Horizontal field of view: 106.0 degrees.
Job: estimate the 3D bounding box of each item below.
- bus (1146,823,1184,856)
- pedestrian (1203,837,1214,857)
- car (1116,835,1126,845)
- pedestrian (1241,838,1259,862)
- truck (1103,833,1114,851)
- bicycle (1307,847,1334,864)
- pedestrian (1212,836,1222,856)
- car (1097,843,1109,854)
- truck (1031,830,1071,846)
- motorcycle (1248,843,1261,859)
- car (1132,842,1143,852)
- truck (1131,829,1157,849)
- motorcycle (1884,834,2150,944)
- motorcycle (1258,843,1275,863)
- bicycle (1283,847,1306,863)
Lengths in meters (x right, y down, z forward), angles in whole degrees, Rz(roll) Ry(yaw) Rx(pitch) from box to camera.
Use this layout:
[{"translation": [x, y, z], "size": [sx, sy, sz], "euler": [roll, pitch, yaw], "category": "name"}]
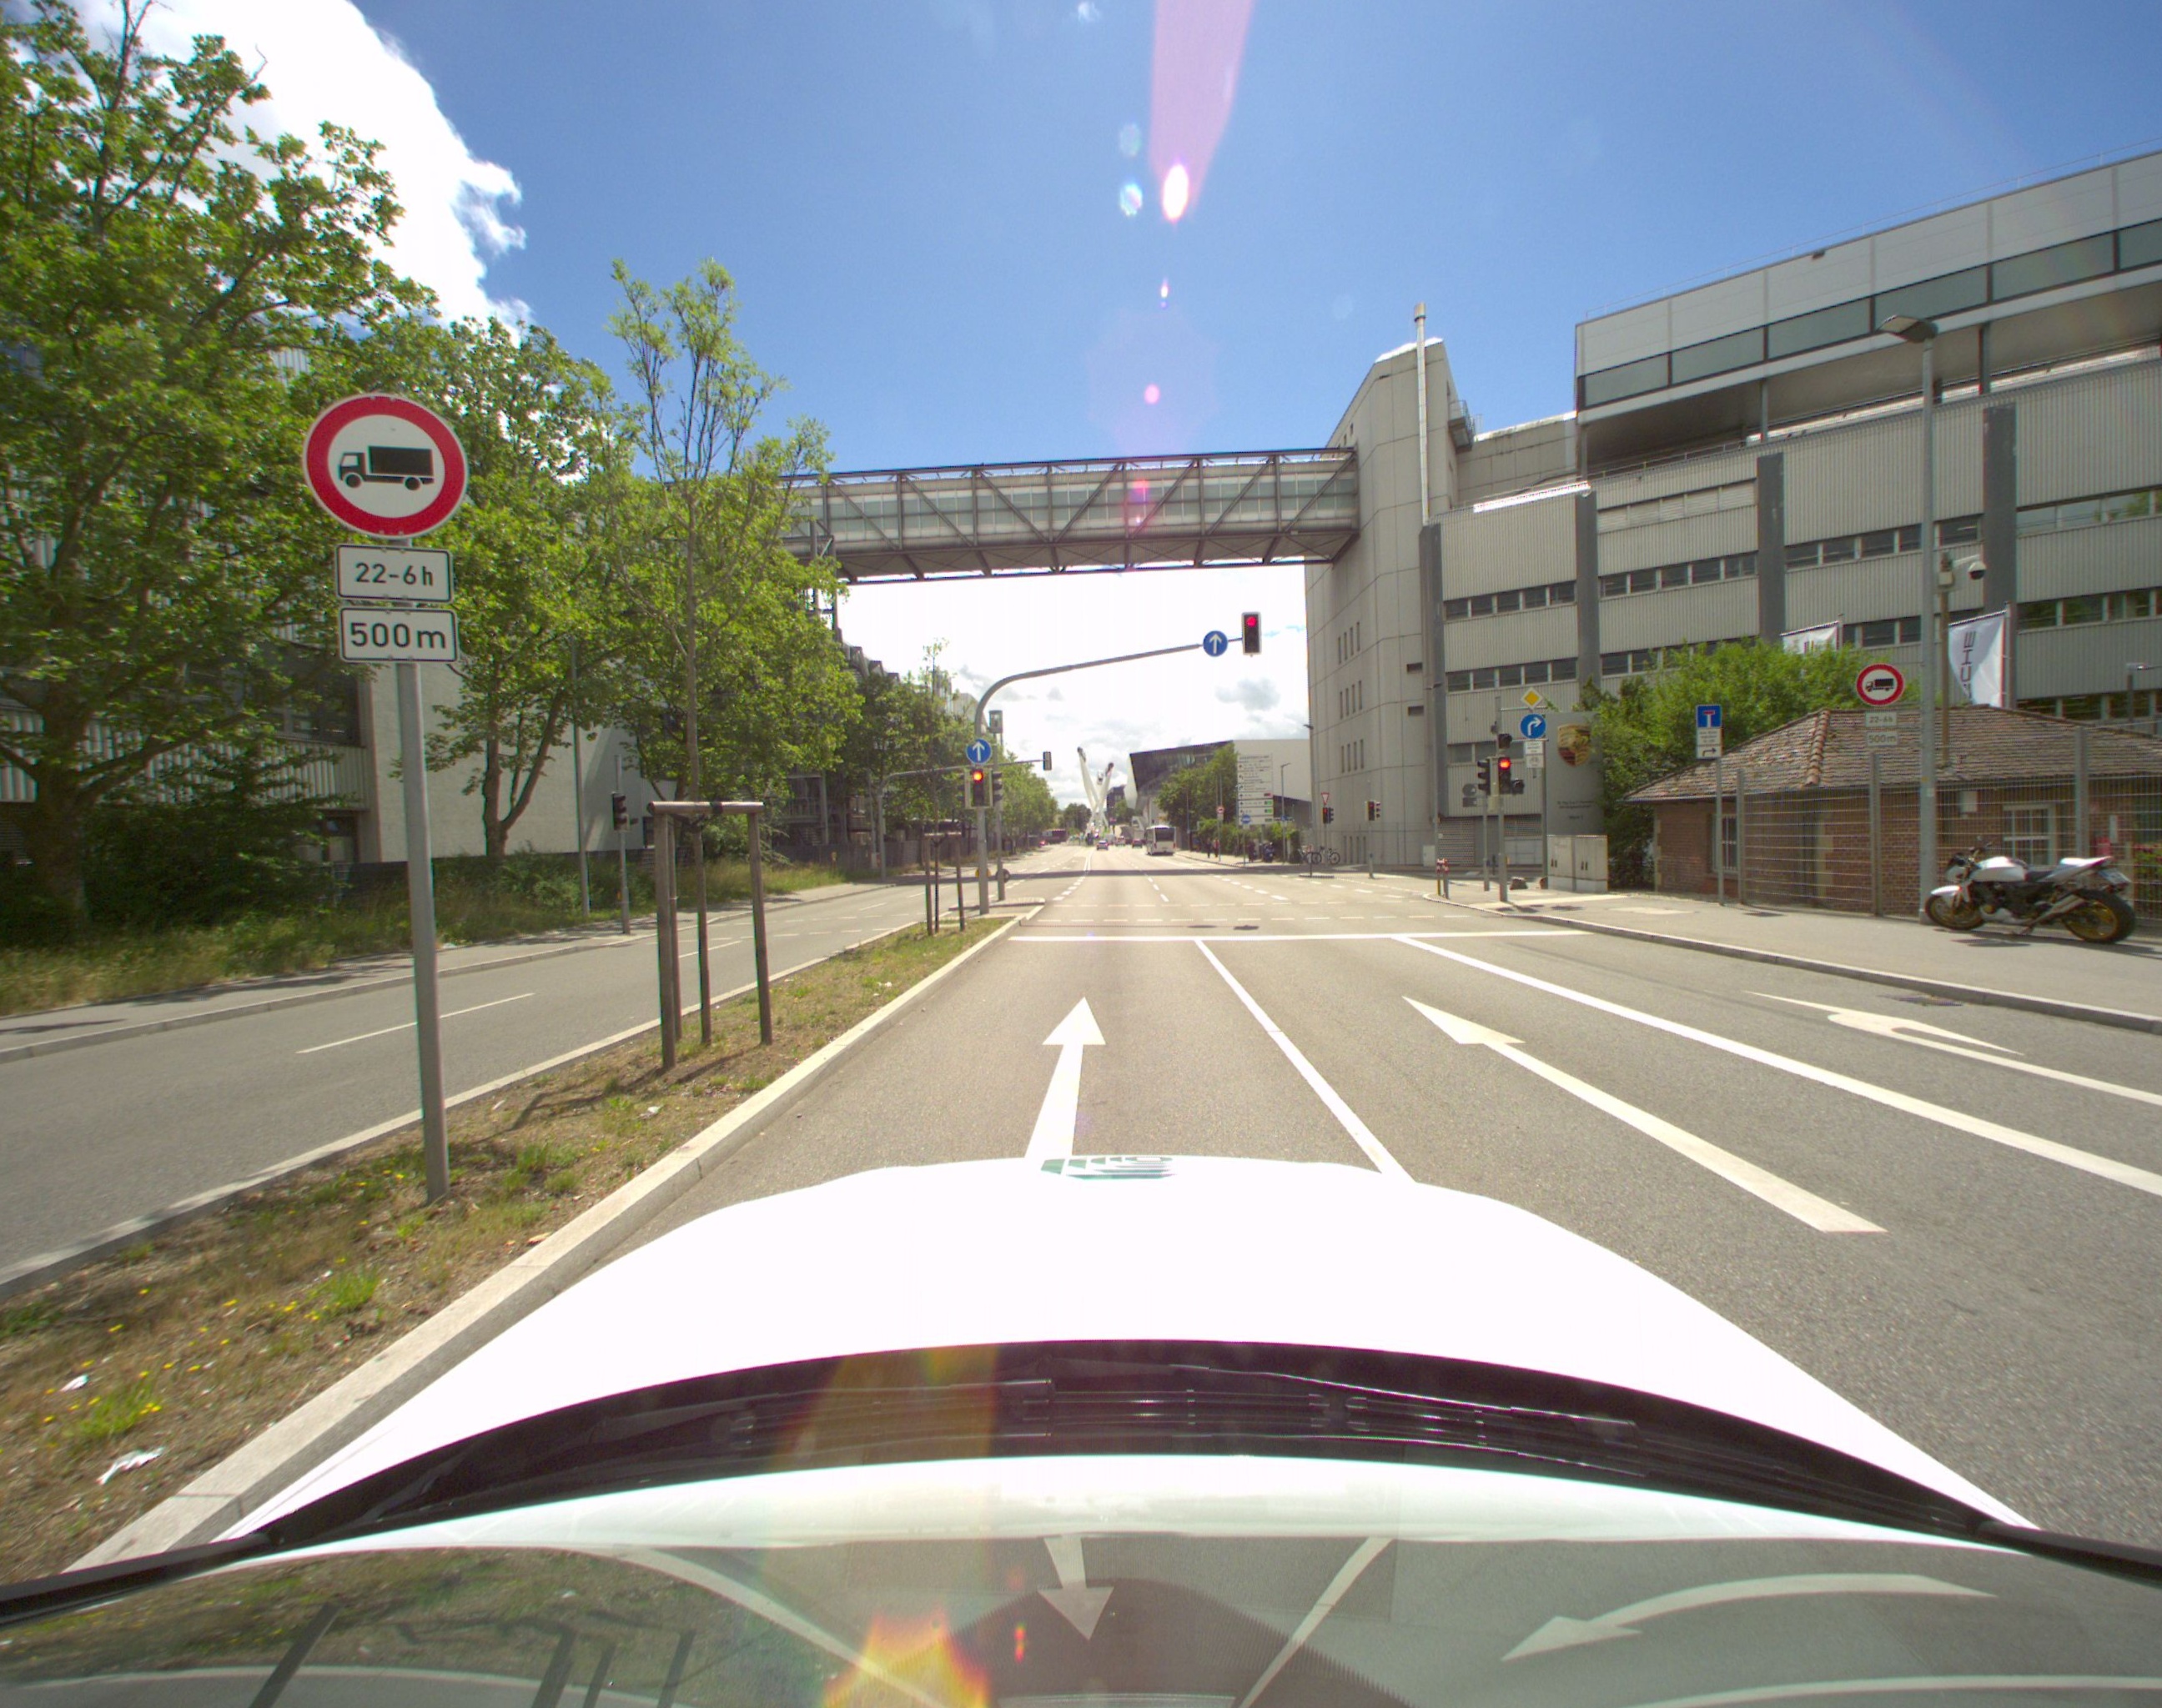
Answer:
[{"translation": [9.569, -1.596, 94.139], "size": [3.440, 3.543, 10.608], "euler": [-1, 0, 1], "category": "bus"}, {"translation": [11.329, -0.600, 72.299], "size": [0.817, 1.707, 0.881], "euler": [-1, 0, 2], "category": "pedestrian"}, {"translation": [8.172, -2.836, 167.796], "size": [1.986, 2.014, 4.001], "euler": [0, -1, 2], "category": "car"}, {"translation": [11.687, -0.291, 56.211], "size": [0.839, 1.624, 0.962], "euler": [-1, 0, 43], "category": "pedestrian"}, {"translation": [6.153, -2.587, 180.773], "size": [2.383, 3.897, 6.181], "euler": [-1, 0, 2], "category": "truck"}, {"translation": [14.043, 0.094, 47.735], "size": [0.399, 0.937, 1.913], "euler": [-1, 0, -23], "category": "bicycle"}, {"translation": [12.057, -0.720, 72.259], "size": [0.817, 1.741, 0.637], "euler": [-1, 0, 2], "category": "pedestrian"}, {"translation": [3.503, -0.895, 128.901], "size": [1.731, 1.741, 3.693], "euler": [-1, 0, 2], "category": "car"}, {"translation": [-8.486, -4.617, 234.978], "size": [12.234, 4.324, 3.531], "euler": [0, -1, -43], "category": "truck"}, {"translation": [13.173, -0.245, 61.817], "size": [0.572, 1.203, 2.025], "euler": [-3, 1, 2], "category": "motorcycle"}, {"translation": [10.113, -1.338, 146.019], "size": [1.731, 1.741, 3.693], "euler": [-1, 0, 2], "category": "car"}, {"translation": [13.998, -3.288, 180.545], "size": [3.424, 4.391, 9.467], "euler": [-1, 0, 20], "category": "truck"}, {"translation": [11.265, 0.372, 9.948], "size": [0.691, 1.158, 2.146], "euler": [-3, 0, -3], "category": "motorcycle"}, {"translation": [12.304, -0.078, 54.002], "size": [0.703, 1.203, 2.025], "euler": [-3, 1, 2], "category": "motorcycle"}, {"translation": [13.113, 0.041, 50.052], "size": [0.398, 0.937, 1.917], "euler": [-1, 0, -17], "category": "bicycle"}]
